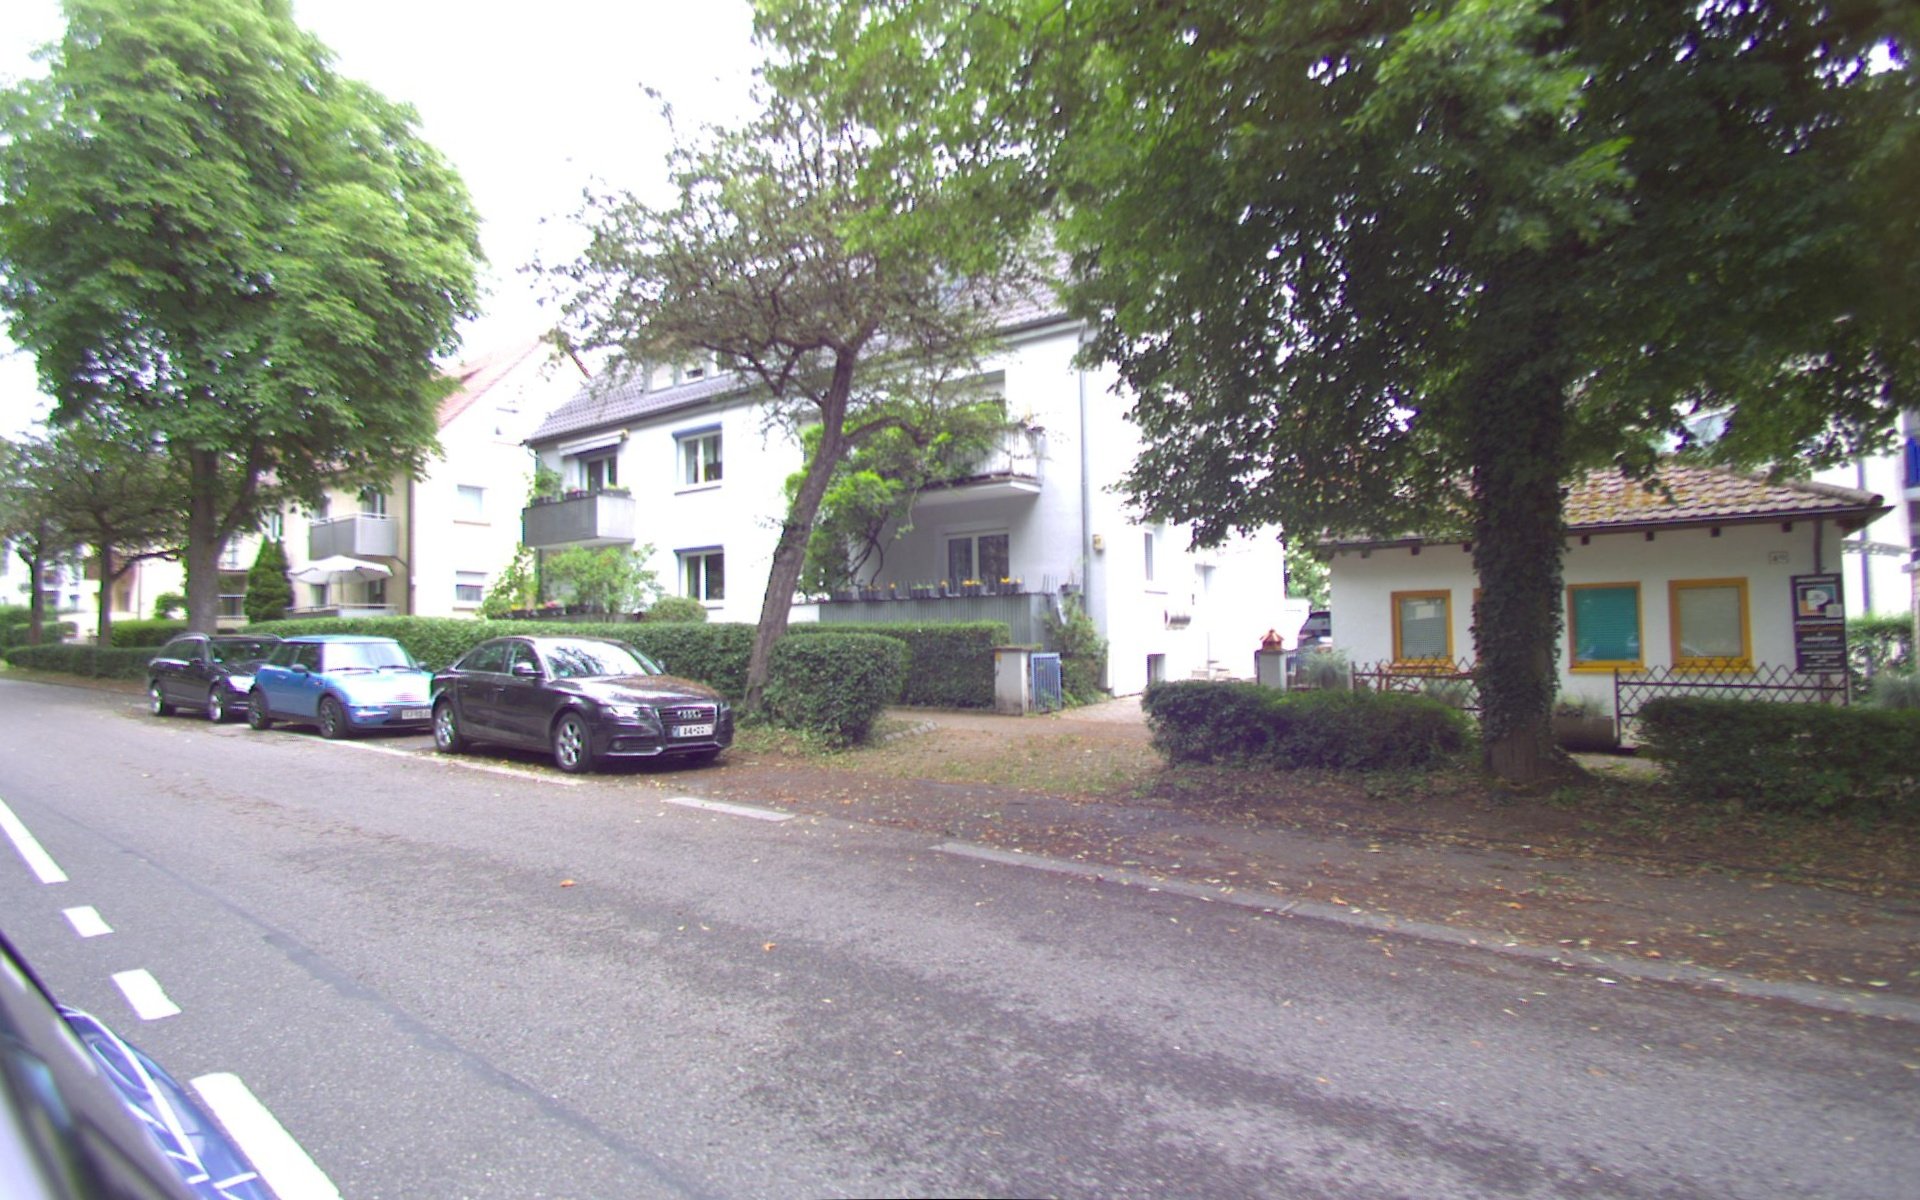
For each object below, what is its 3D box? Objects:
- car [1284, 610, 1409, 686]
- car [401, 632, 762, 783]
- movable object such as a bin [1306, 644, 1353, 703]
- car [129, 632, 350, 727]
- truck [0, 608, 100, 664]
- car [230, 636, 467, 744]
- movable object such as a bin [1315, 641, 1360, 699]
[{"bbox_3d":[8.691,1.008,22.576,1.730,1.522,3.953,-2,-1,34],"label":"car"},{"bbox_3d":[-4.512,1.112,11.736,4.639,1.421,1.777,-2,-4,39],"label":"car"},{"bbox_3d":[6.101,1.202,16.713,0.573,0.929,0.482,-2,-1,39],"label":"movable object such as a bin"},{"bbox_3d":[-12.740,1.329,17.819,4.408,1.483,1.778,-2,-3,35],"label":"car"},{"bbox_3d":[-54.407,2.101,59.200,2.511,3.155,5.748,-2,-3,34],"label":"truck"},{"bbox_3d":[-9.108,1.259,15.008,3.698,1.402,1.650,-2,-3,35],"label":"car"},{"bbox_3d":[6.391,1.176,17.144,0.573,0.929,0.482,-2,-1,39],"label":"movable object such as a bin"}]
